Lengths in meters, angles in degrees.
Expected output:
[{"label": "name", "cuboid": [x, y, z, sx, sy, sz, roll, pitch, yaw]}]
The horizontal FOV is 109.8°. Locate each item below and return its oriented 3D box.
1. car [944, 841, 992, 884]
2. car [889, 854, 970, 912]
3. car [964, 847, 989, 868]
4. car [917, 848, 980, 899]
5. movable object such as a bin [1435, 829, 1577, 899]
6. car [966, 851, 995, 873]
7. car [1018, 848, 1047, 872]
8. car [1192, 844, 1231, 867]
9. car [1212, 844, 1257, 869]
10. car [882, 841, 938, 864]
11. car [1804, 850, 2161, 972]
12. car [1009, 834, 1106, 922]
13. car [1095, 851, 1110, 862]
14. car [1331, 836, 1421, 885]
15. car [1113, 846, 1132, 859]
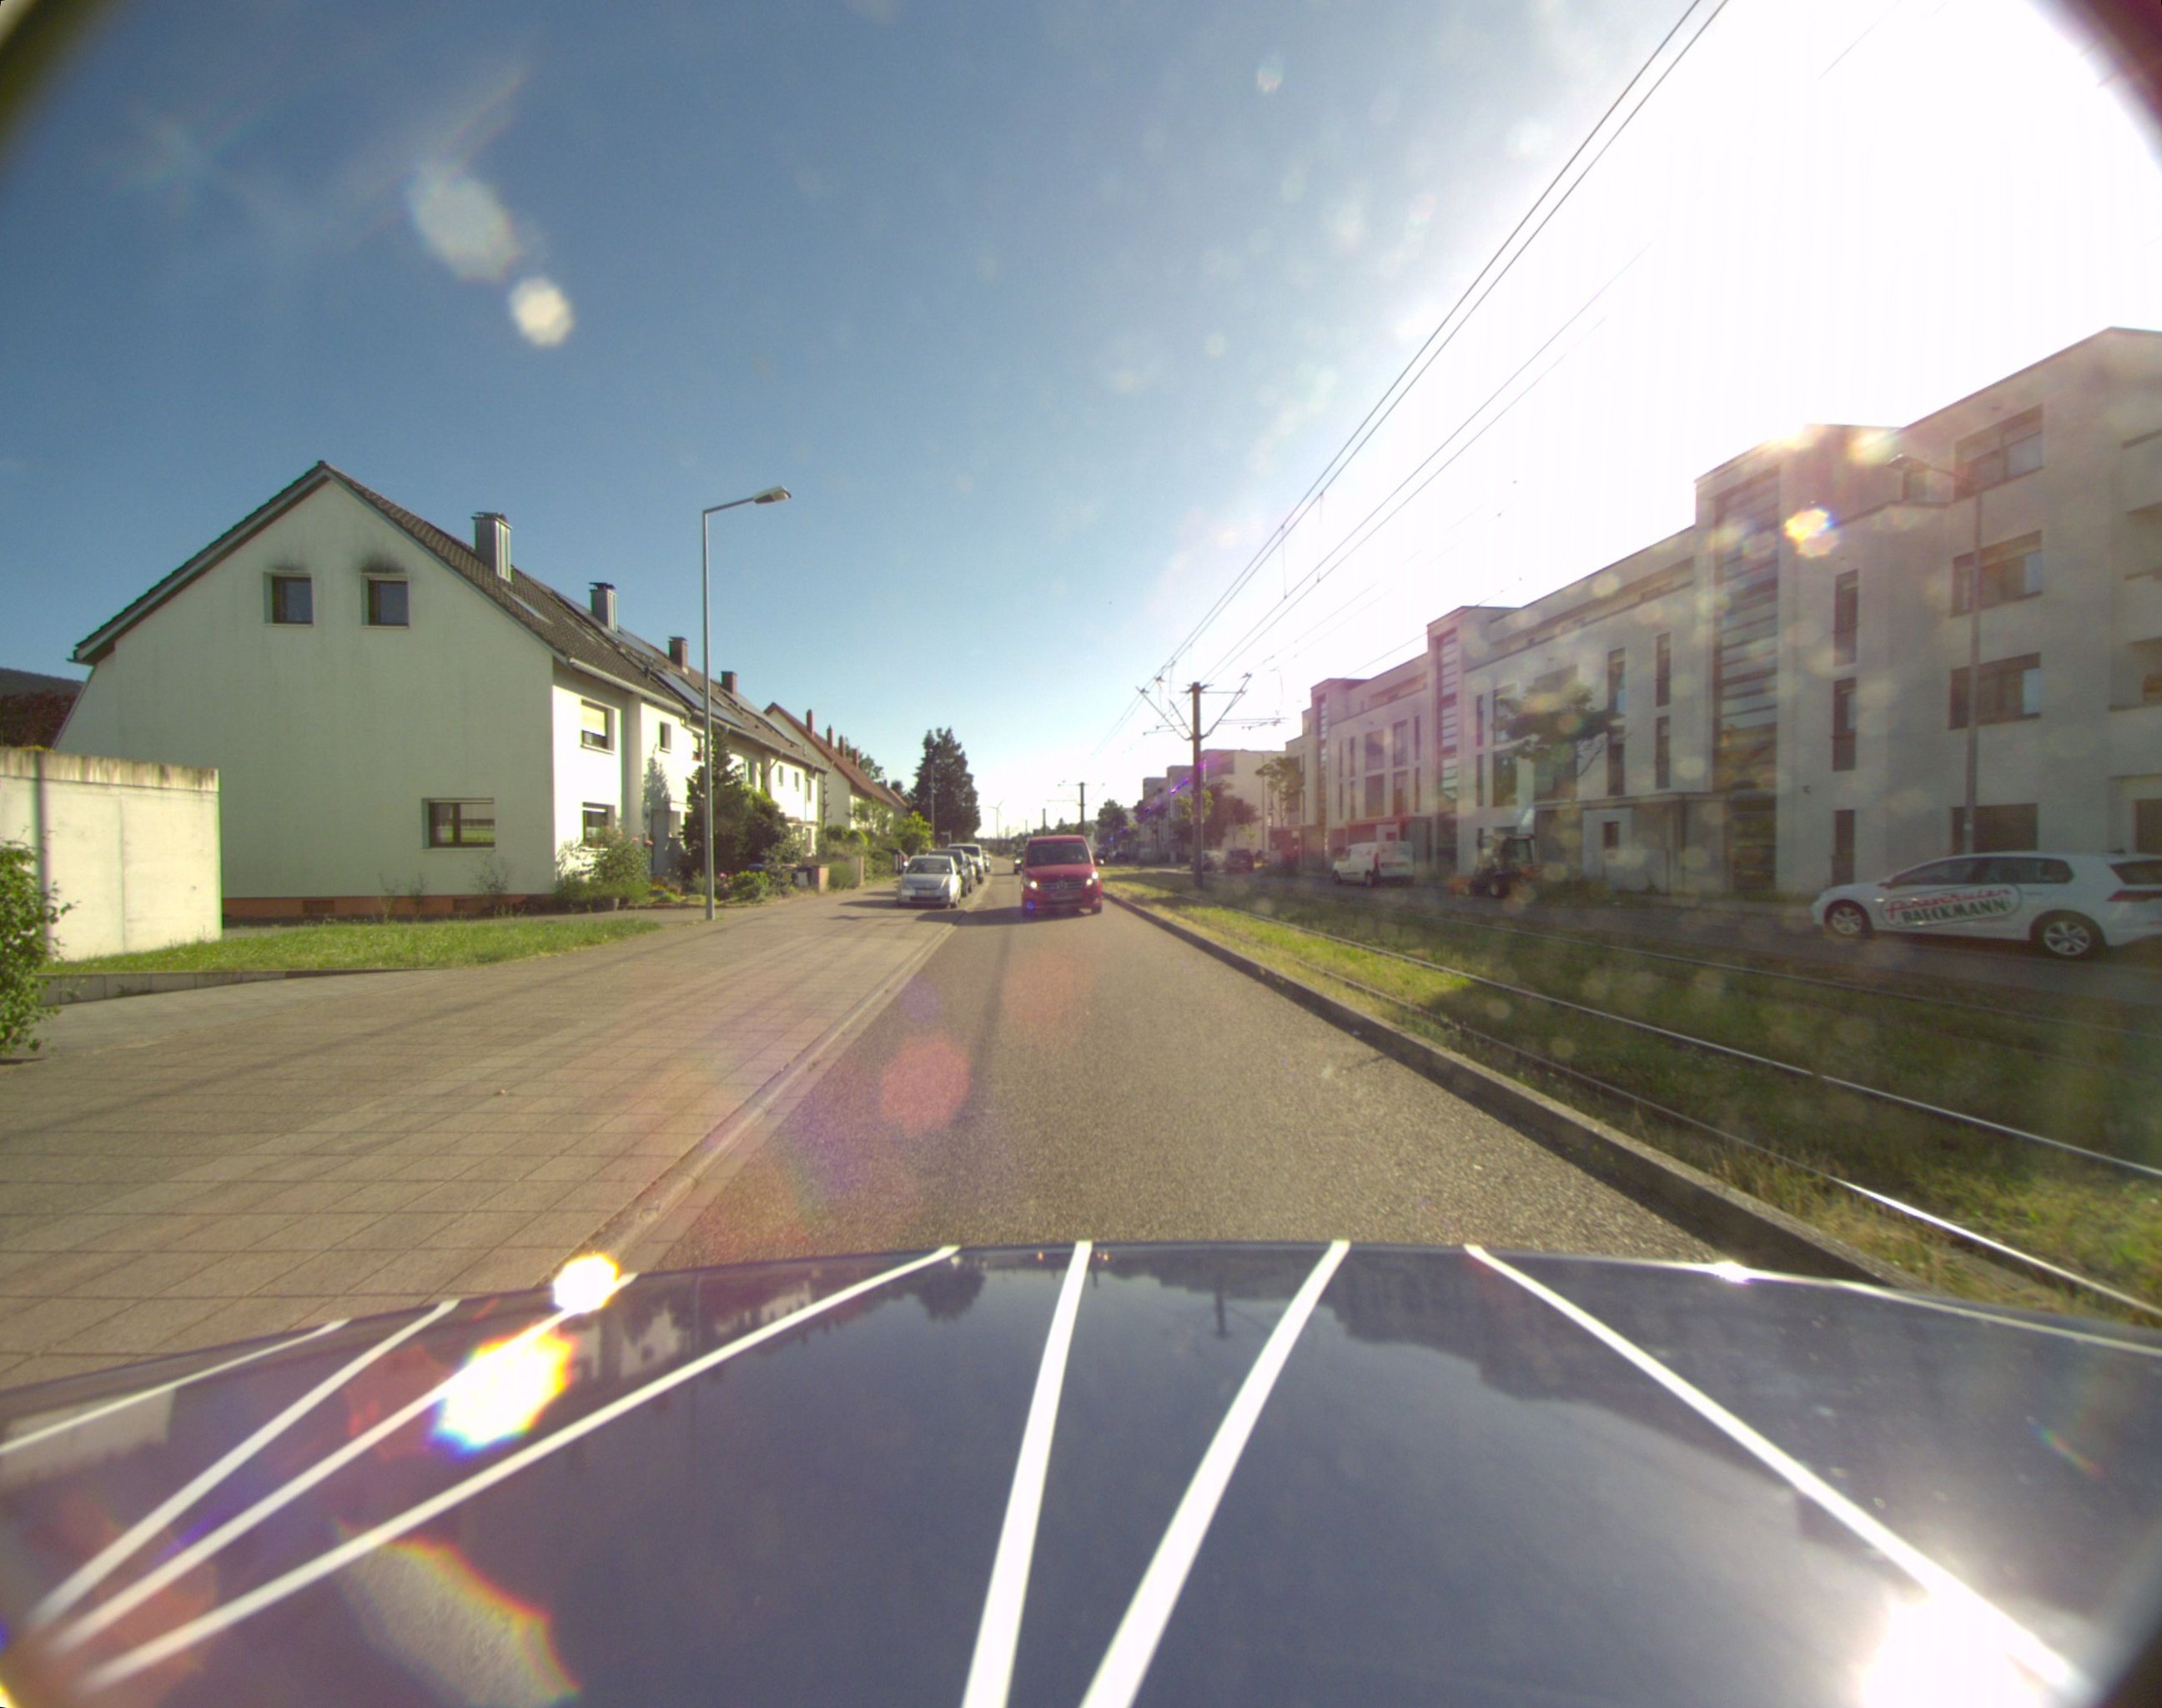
[{"label": "car", "cuboid": [-5.467, 0.393, 37.277, 1.893, 1.951, 4.012, 1, 1, -2]}, {"label": "car", "cuboid": [-4.323, 0.776, 22.215, 1.700, 1.466, 4.012, 1, 1, -2]}, {"label": "car", "cuboid": [-8.705, 0.270, 63.505, 1.700, 1.604, 4.012, 1, 1, -2]}, {"label": "car", "cuboid": [-4.756, 0.631, 27.728, 1.700, 1.692, 4.012, 1, 1, -2]}, {"label": "movable object such as a bin", "cuboid": [13.071, 0.266, 23.712, 1.767, 1.926, 4.154, -2, 1, -6]}, {"label": "car", "cuboid": [-7.296, 0.537, 55.348, 1.700, 1.466, 4.012, 1, 1, -2]}, {"label": "car", "cuboid": [-3.271, 0.395, 52.107, 1.893, 1.506, 3.752, 1, 1, -2]}, {"label": "car", "cuboid": [9.754, 0.090, 57.065, 1.767, 1.590, 4.154, -2, 1, -6]}, {"label": "car", "cuboid": [10.324, 0.130, 51.448, 1.767, 1.590, 4.154, -2, 1, -6]}, {"label": "car", "cuboid": [-13.713, -0.108, 61.000, 3.997, 1.674, 2.000, -2, 1, 0]}, {"label": "car", "cuboid": [13.724, 0.691, 11.420, 1.521, 1.424, 4.154, -2, 1, -6]}, {"label": "car", "cuboid": [-0.460, 0.510, 19.944, 1.979, 1.922, 5.205, -3, 1, 3]}, {"label": "car", "cuboid": [3.170, 0.381, 112.328, 1.767, 1.590, 4.154, -2, 1, -6]}, {"label": "car", "cuboid": [12.238, 0.242, 31.813, 1.767, 1.859, 4.154, -2, 1, -6]}, {"label": "car", "cuboid": [5.305, -0.182, 96.745, 1.767, 1.590, 4.154, -2, 1, -6]}]
